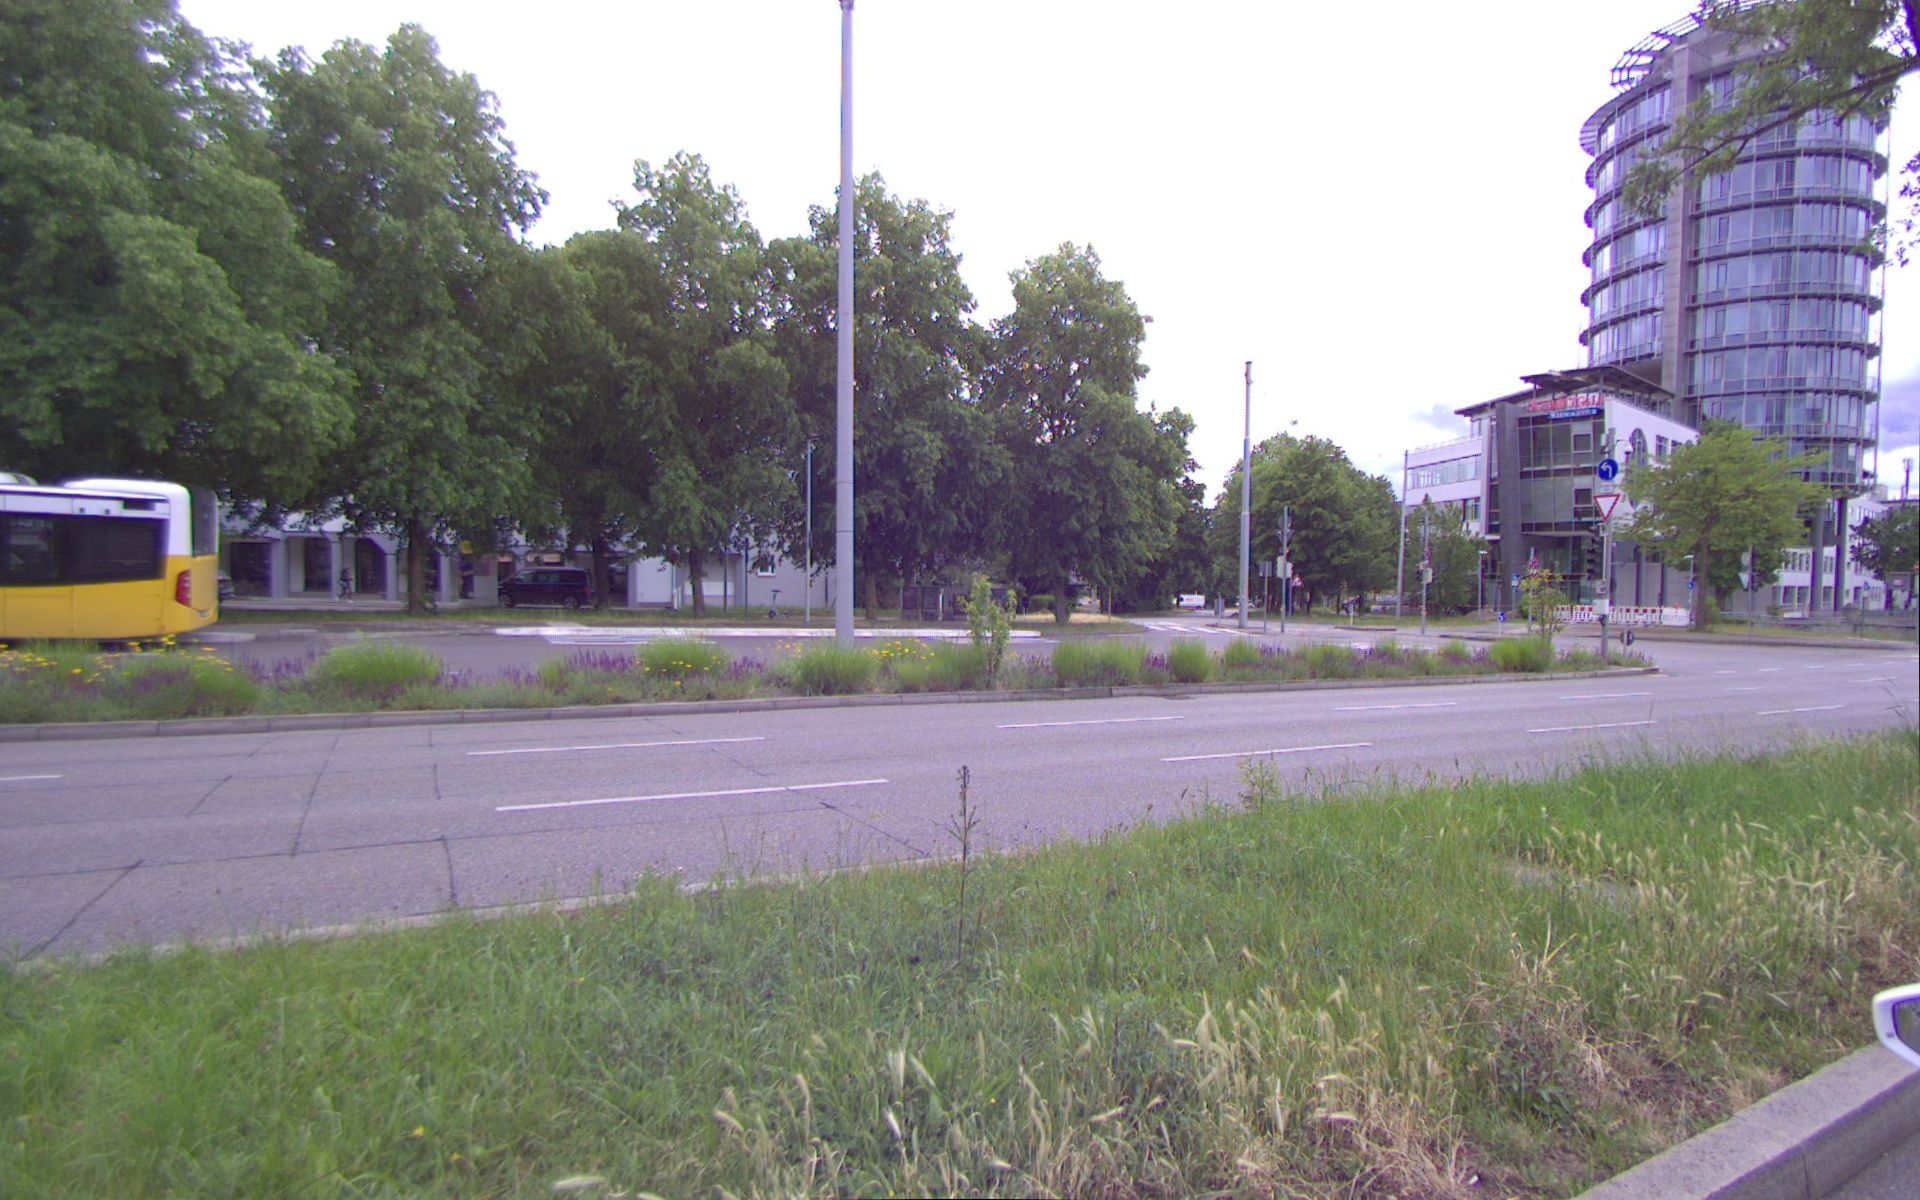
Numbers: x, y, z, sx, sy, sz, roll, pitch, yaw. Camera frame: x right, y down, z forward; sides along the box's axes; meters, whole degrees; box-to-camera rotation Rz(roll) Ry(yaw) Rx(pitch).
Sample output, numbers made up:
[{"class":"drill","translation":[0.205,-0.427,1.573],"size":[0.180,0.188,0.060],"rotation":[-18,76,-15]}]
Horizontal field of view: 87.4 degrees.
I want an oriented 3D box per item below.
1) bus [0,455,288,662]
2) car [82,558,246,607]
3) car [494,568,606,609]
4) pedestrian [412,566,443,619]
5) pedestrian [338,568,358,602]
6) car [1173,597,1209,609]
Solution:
[{"class":"bus","translation":[-18.003,-0.785,17.769],"size":[9.779,3.502,3.021],"rotation":[1,2,-26]},{"class":"car","translation":[-28.141,-0.610,35.703],"size":[4.191,1.602,1.987],"rotation":[1,1,-26]},{"class":"car","translation":[-19.697,-0.539,48.466],"size":[4.736,1.857,1.994],"rotation":[1,1,-15]},{"class":"pedestrian","translation":[-17.335,-0.238,32.711],"size":[0.847,1.711,0.453],"rotation":[1,1,-30]},{"class":"pedestrian","translation":[-28.583,-0.695,46.905],"size":[0.658,1.568,0.656],"rotation":[1,1,-22]},{"class":"car","translation":[40.629,0.516,176.575],"size":[5.881,2.040,1.995],"rotation":[1,1,-13]}]
